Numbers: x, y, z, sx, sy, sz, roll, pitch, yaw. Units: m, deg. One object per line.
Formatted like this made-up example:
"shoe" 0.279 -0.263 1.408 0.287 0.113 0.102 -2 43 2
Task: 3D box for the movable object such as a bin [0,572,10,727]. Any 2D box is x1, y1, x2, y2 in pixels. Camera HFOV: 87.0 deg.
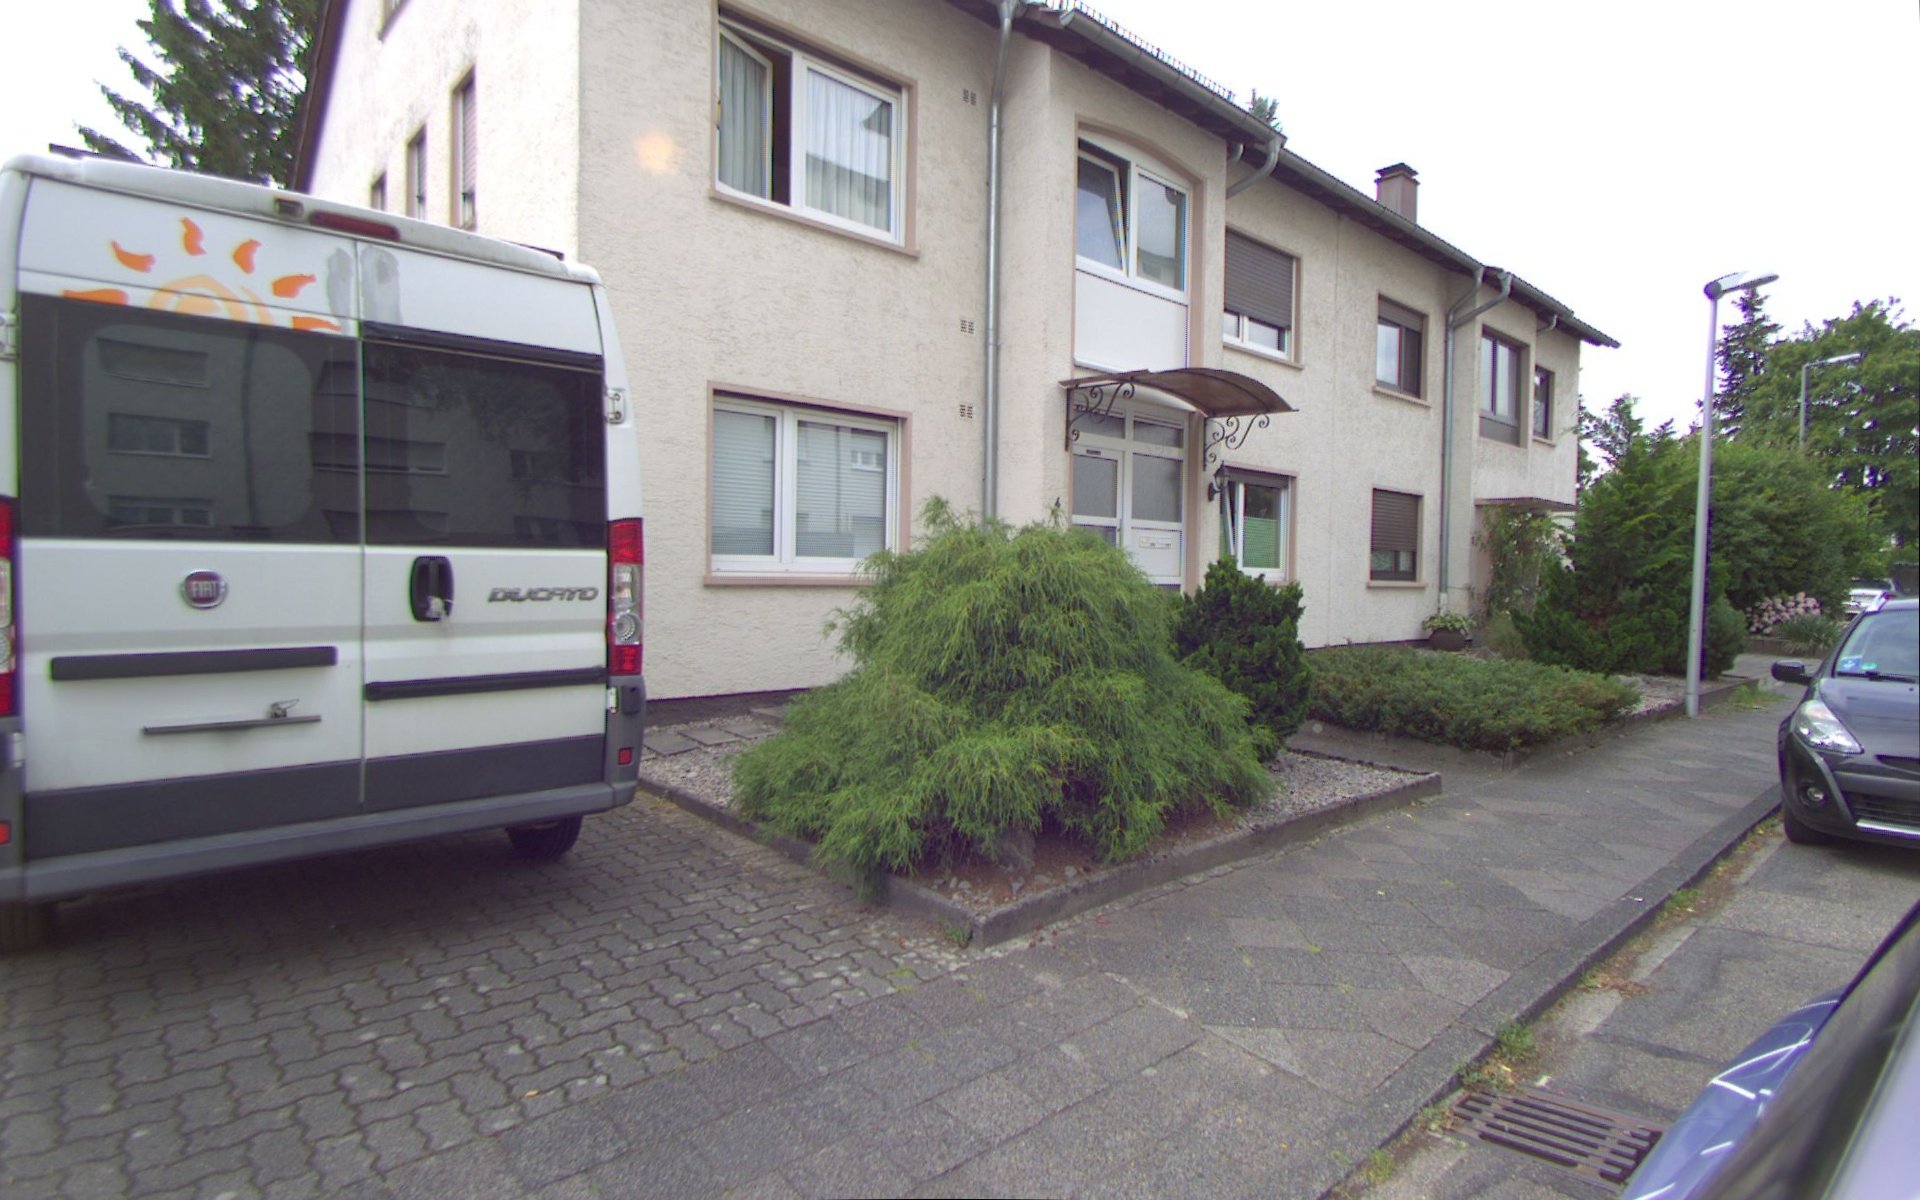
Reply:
"movable object such as a bin" -7.060 0.345 7.115 0.537 1.069 0.456 -1 4 -43

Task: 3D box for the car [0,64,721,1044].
"car" -3.466 -0.250 5.228 2.199 2.573 5.098 0 3 -41

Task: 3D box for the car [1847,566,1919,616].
"car" 30.411 -0.345 33.174 3.936 1.484 1.702 -3 4 -45

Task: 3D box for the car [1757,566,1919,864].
"car" 6.418 0.555 6.265 4.122 1.476 1.831 -1 1 -45
